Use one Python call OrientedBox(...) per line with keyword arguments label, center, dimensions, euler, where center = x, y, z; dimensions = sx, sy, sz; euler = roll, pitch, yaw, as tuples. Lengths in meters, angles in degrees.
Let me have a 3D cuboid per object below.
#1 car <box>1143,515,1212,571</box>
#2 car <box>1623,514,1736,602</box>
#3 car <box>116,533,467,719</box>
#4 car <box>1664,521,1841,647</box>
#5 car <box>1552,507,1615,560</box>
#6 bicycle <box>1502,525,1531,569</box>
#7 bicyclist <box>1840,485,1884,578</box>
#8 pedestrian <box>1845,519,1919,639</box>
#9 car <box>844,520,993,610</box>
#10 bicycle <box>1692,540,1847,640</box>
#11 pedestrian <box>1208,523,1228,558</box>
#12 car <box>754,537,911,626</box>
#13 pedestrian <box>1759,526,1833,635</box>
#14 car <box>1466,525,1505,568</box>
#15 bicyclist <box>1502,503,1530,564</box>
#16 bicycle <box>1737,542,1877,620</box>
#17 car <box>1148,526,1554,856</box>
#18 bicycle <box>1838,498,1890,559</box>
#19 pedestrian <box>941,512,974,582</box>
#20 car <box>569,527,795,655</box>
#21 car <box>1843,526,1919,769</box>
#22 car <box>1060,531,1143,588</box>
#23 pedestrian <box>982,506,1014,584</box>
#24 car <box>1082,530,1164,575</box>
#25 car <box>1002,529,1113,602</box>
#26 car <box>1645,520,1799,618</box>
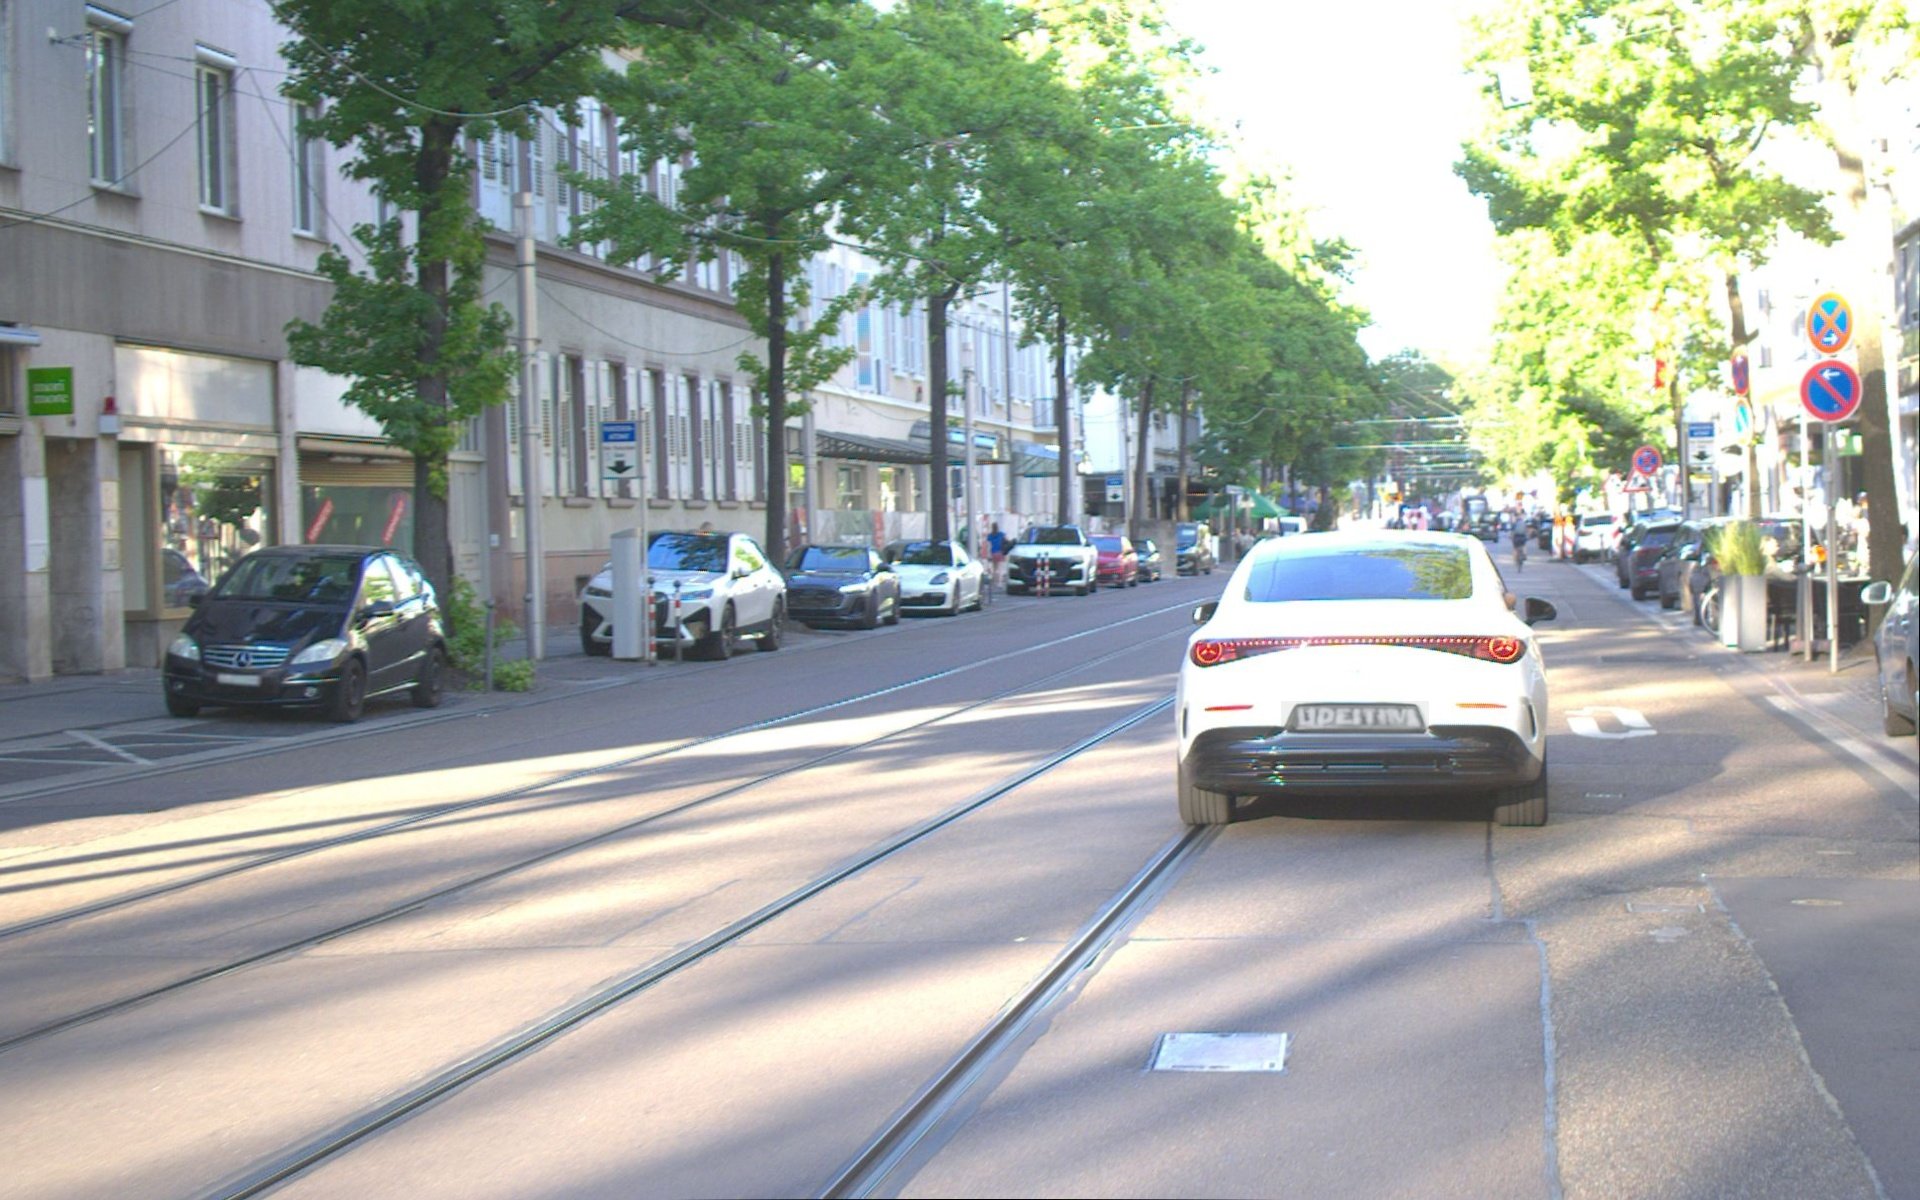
OrientedBox(label="car", center=(7.351, -1.943, 116.010), dimensions=(1.554, 1.789, 3.165), euler=(-1, 1, 17))
OrientedBox(label="car", center=(13.227, -0.800, 63.353), dimensions=(1.872, 1.448, 4.104), euler=(-4, 1, 11))
OrientedBox(label="car", center=(-6.324, 0.202, 32.980), dimensions=(1.962, 1.634, 3.998), euler=(-1, 1, 10))
OrientedBox(label="car", center=(10.697, -0.242, 46.640), dimensions=(1.801, 1.453, 3.654), euler=(6, 2, 7))
OrientedBox(label="car", center=(21.274, -2.290, 117.446), dimensions=(1.994, 1.722, 4.239), euler=(-2, 1, 9))
OrientedBox(label="bicycle", center=(15.580, -1.490, 96.257), dimensions=(0.741, 1.184, 2.159), euler=(-2, 1, 10))
OrientedBox(label="bicyclist", center=(16.590, -1.255, 63.242), dimensions=(0.639, 1.678, 0.599), euler=(-2, 1, 7))
OrientedBox(label="pedestrian", center=(10.964, -0.253, 40.463), dimensions=(0.707, 1.382, 0.747), euler=(-2, 1, -28))
OrientedBox(label="car", center=(-0.744, -0.704, 66.370), dimensions=(1.947, 1.634, 4.907), euler=(-1, 1, 10))
OrientedBox(label="bicycle", center=(10.015, -0.123, 42.555), dimensions=(1.729, 1.135, 0.546), euler=(-3, 0, 30))
OrientedBox(label="pedestrian", center=(10.882, -2.525, 145.071), dimensions=(0.569, 1.459, 0.649), euler=(-1, 1, 28))
OrientedBox(label="car", center=(-2.119, -0.351, 58.543), dimensions=(1.962, 1.408, 4.845), euler=(-1, 1, 6))
OrientedBox(label="pedestrian", center=(9.896, -0.236, 40.690), dimensions=(0.818, 1.261, 0.586), euler=(-2, 1, 15))
OrientedBox(label="car", center=(31.834, -3.252, 208.347), dimensions=(1.994, 2.532, 4.000), euler=(-1, 1, 4))
OrientedBox(label="bicyclist", center=(15.600, -1.870, 96.430), dimensions=(0.725, 1.697, 0.811), euler=(-2, 1, 10))
OrientedBox(label="bicycle", center=(12.526, -0.290, 50.893), dimensions=(1.855, 1.070, 0.712), euler=(-2, 1, 0))
OrientedBox(label="car", center=(2.150, 0.375, 18.056), dimensions=(1.869, 1.464, 4.041), euler=(1, 2, 9))
OrientedBox(label="bicycle", center=(16.582, -1.312, 63.105), dimensions=(0.648, 1.070, 1.861), euler=(-2, 1, 7))
OrientedBox(label="pedestrian", center=(-0.062, -1.386, 89.488), dimensions=(0.707, 1.800, 0.675), euler=(-2, 1, 9))
OrientedBox(label="car", center=(-3.752, -0.170, 47.340), dimensions=(1.962, 1.634, 4.810), euler=(1, 1, 9))
OrientedBox(label="car", center=(6.846, 0.200, 22.127), dimensions=(1.776, 1.435, 4.421), euler=(-4, 0, 10))
OrientedBox(label="car", center=(3.894, -1.123, 94.248), dimensions=(1.689, 1.494, 4.232), euler=(-1, 1, 10))
OrientedBox(label="pedestrian", center=(0.981, -1.440, 89.239), dimensions=(0.707, 1.997, 0.675), euler=(-2, 1, 7))
OrientedBox(label="car", center=(4.909, -1.437, 103.104), dimensions=(1.994, 1.287, 3.999), euler=(-1, 1, 9))
OrientedBox(label="car", center=(2.429, -0.864, 84.245), dimensions=(1.962, 1.686, 5.011), euler=(-1, 1, 10))
OrientedBox(label="car", center=(12.267, -0.517, 55.551), dimensions=(1.814, 1.481, 4.000), euler=(-1, 1, 4))
